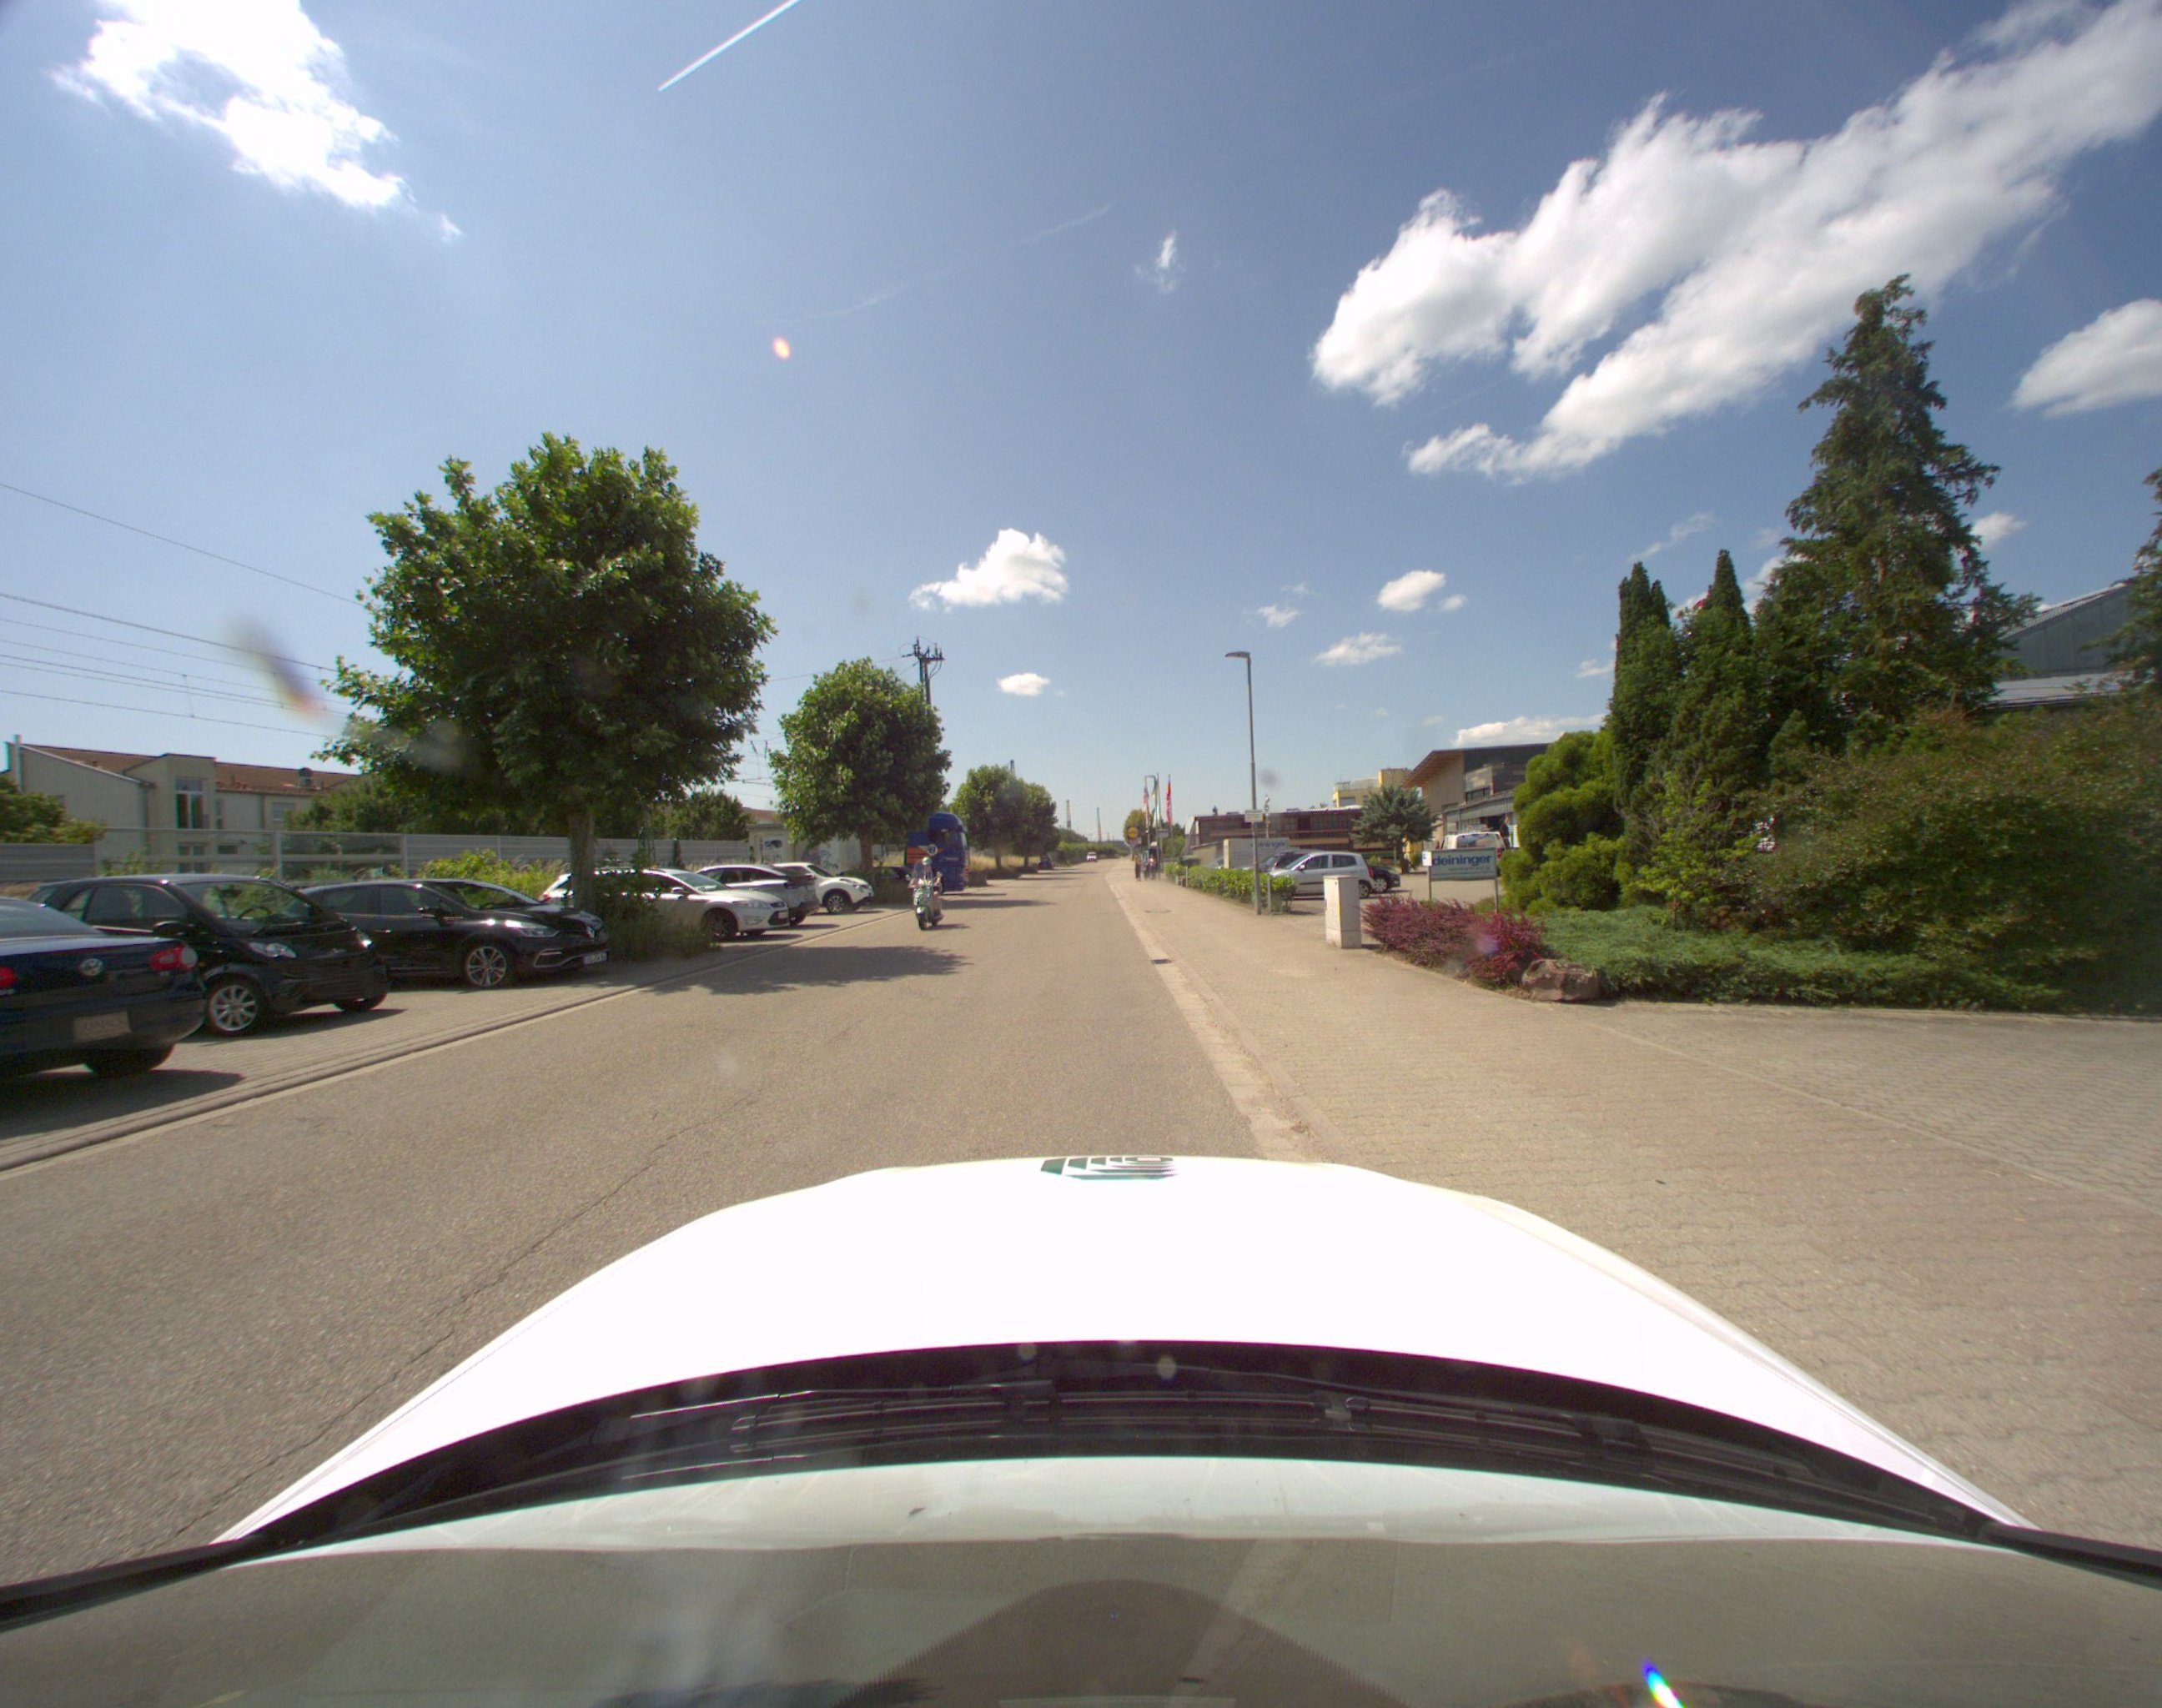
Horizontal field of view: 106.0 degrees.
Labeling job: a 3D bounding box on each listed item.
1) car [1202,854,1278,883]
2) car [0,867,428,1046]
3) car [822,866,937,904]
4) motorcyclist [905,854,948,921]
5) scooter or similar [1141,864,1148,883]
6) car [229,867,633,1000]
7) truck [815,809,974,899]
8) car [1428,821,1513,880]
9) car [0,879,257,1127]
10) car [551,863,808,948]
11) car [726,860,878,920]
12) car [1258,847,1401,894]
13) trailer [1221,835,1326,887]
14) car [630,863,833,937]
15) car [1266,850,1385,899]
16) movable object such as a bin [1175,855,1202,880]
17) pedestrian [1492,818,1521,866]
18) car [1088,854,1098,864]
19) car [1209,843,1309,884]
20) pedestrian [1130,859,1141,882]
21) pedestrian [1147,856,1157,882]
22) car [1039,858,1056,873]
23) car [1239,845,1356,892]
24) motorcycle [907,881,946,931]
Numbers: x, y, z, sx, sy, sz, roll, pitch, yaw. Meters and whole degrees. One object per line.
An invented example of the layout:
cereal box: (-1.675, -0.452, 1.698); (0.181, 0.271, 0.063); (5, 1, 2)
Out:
car: (8.650, 0.779, 44.659); (3.831, 1.455, 1.818); (-2, 0, 2)
car: (-8.981, 0.974, 8.371); (3.178, 1.538, 1.601); (-2, -1, -1)
car: (-8.203, 1.252, 33.386); (4.196, 1.395, 1.871); (-2, -1, -1)
motorcyclist: (-3.625, 0.772, 19.187); (0.773, 1.509, 0.921); (-2, -1, 1)
scooter or similar: (3.943, 1.209, 50.511); (0.332, 1.198, 0.398); (-3, -3, 2)
car: (-8.710, 1.025, 11.175); (4.058, 1.472, 1.787); (-3, -1, 1)
truck: (-8.436, 0.003, 37.471); (6.594, 3.823, 2.663); (-2, -1, -1)
car: (15.960, -0.118, 33.636); (2.085, 2.125, 4.733); (-4, -1, 13)
car: (-8.428, 1.000, 5.568); (3.926, 1.450, 1.789); (-2, -1, 5)
car: (-8.192, 1.020, 16.916); (4.323, 1.533, 1.926); (-2, 0, 0)
car: (-8.413, 1.064, 24.858); (3.960, 1.618, 1.849); (-2, 0, -3)
car: (8.658, 0.560, 28.631); (4.463, 1.440, 1.813); (-2, 0, -3)
trailer: (8.091, 0.283, 34.484); (3.971, 2.014, 2.001); (-2, -1, 2)
car: (-8.279, 1.053, 19.589); (3.975, 1.548, 1.999); (-2, -1, -1)
car: (7.764, 0.638, 26.115); (3.338, 1.401, 1.771); (-2, 0, 4)
movable object such as a bin: (6.604, 0.826, 50.092); (1.273, 1.458, 1.037); (-1, 0, -36)
pedestrian: (17.839, -0.477, 34.177); (0.713, 1.943, 0.690); (-3, -3, 0)
car: (2.330, 0.919, 159.656); (1.831, 1.858, 4.486); (-2, 0, 2)
car: (8.241, 0.482, 38.016); (4.199, 1.634, 1.800); (-3, -2, -1)
pedestrian: (3.393, 1.039, 50.499); (0.563, 1.405, 0.584); (-3, -3, 0)
pedestrian: (4.391, 0.927, 50.311); (0.533, 1.540, 0.510); (-3, -3, 0)
car: (-3.953, 1.336, 96.241); (1.735, 1.596, 3.580); (-2, 0, 1)
car: (8.476, 0.599, 32.061); (4.026, 1.574, 1.711); (-3, -2, -5)
motorcycle: (-3.610, 1.192, 19.172); (0.461, 1.051, 1.956); (-2, -1, 2)
